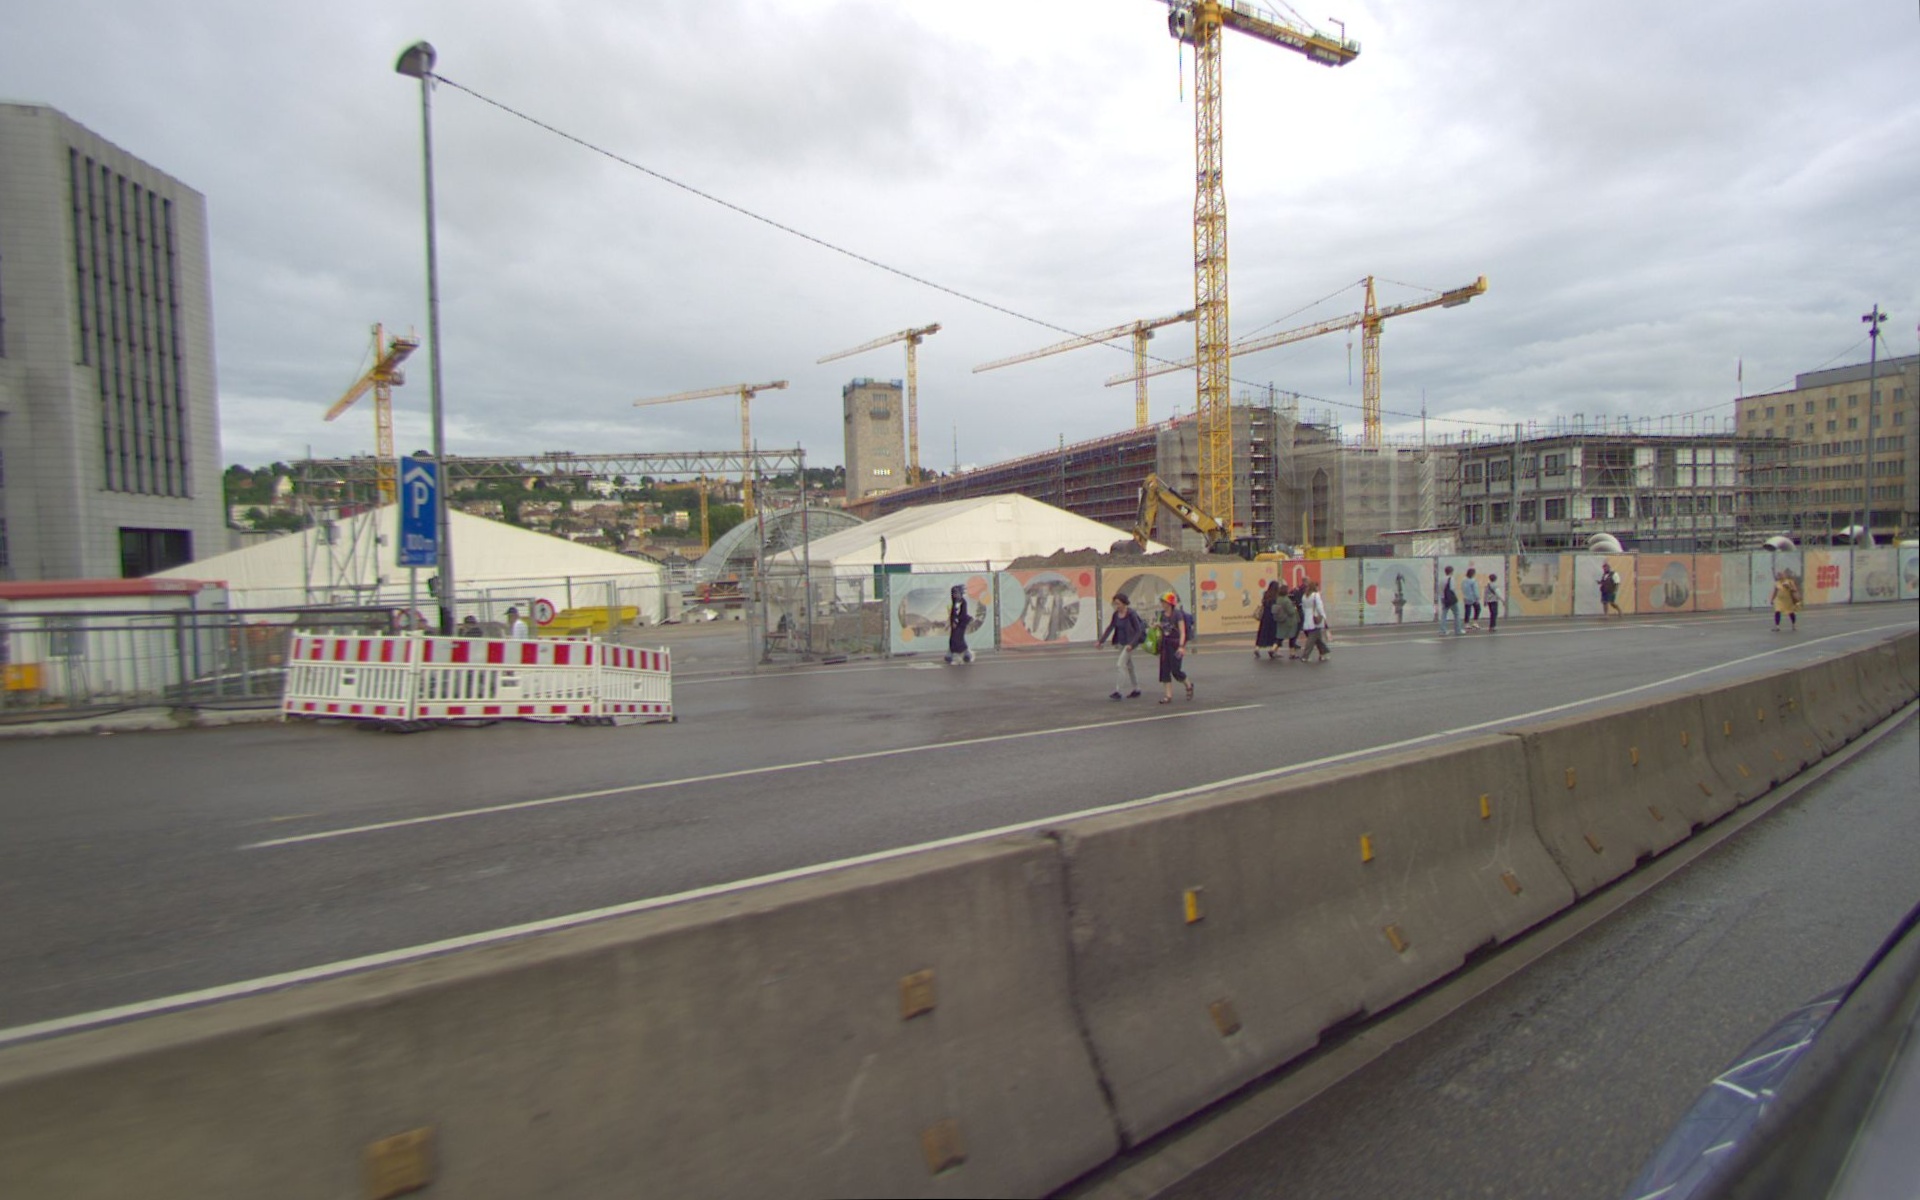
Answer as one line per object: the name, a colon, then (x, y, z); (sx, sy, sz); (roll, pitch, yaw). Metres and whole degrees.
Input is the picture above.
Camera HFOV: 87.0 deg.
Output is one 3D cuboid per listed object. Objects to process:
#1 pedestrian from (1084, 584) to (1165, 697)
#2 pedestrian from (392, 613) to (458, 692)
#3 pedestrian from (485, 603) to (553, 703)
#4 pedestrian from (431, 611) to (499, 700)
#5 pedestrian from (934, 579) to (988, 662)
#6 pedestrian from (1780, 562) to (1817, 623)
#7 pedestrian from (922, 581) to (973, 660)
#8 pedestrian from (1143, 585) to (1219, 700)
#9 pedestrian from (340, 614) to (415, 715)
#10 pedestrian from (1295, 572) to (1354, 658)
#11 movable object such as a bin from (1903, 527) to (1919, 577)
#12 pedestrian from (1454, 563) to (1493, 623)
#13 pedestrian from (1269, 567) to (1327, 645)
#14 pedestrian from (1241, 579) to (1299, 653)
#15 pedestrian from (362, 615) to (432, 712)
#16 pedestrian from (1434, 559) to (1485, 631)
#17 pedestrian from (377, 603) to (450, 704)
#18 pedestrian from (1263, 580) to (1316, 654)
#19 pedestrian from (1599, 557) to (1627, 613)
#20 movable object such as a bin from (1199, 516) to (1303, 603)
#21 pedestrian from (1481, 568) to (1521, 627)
pedestrian: (2.474, 0.582, 15.292); (0.932, 1.613, 0.865); (-2, 2, -13)
pedestrian: (-11.364, 1.093, 21.516); (0.987, 1.572, 0.871); (-2, 2, -11)
pedestrian: (-8.457, 0.988, 19.436); (0.987, 1.803, 0.871); (-2, 2, -11)
pedestrian: (-9.871, 1.091, 20.230); (0.987, 1.657, 0.871); (-2, 2, -11)
pedestrian: (0.009, 0.431, 22.230); (0.987, 1.746, 0.871); (-2, 2, -11)
pedestrian: (23.133, -0.217, 27.913); (0.892, 1.652, 0.648); (-3, 2, -40)
pedestrian: (-0.289, 0.452, 23.227); (0.987, 1.710, 0.871); (-2, 2, -11)
pedestrian: (3.181, 0.593, 14.609); (0.788, 1.594, 0.735); (-2, 0, -13)
pedestrian: (-10.167, 1.113, 17.682); (0.897, 1.657, 0.728); (-2, 2, -11)
pedestrian: (7.701, 0.294, 21.401); (0.873, 1.744, 0.781); (-2, 2, -21)
movable object such as a bin: (50.922, -2.492, 51.317); (4.069, 2.566, 1.992); (-1, 2, 15)
pedestrian: (14.674, -0.200, 28.905); (0.751, 1.675, 0.650); (-1, 2, -4)
pedestrian: (8.194, 0.121, 24.567); (0.987, 1.840, 0.871); (-2, 2, -21)
pedestrian: (6.914, 0.337, 22.582); (0.987, 1.572, 0.718); (-2, 2, -21)
pedestrian: (-10.249, 1.137, 18.463); (0.897, 1.657, 0.701); (-2, 2, -11)
pedestrian: (13.340, -0.156, 27.029); (0.913, 1.871, 0.821); (-1, 2, -4)
pedestrian: (-10.364, 0.997, 19.222); (0.987, 1.805, 0.775); (-2, 2, -11)
pedestrian: (7.145, 0.355, 21.956); (0.867, 1.541, 0.612); (-2, 2, -21)
pedestrian: (21.064, -0.487, 32.638); (0.485, 1.769, 0.570); (-2, 2, -22)
movable object such as a bin: (12.173, -1.728, 42.295); (4.150, 3.450, 1.944); (-3, 2, -33)
pedestrian: (15.031, -0.077, 28.130); (0.751, 1.572, 0.650); (-1, 2, -4)
